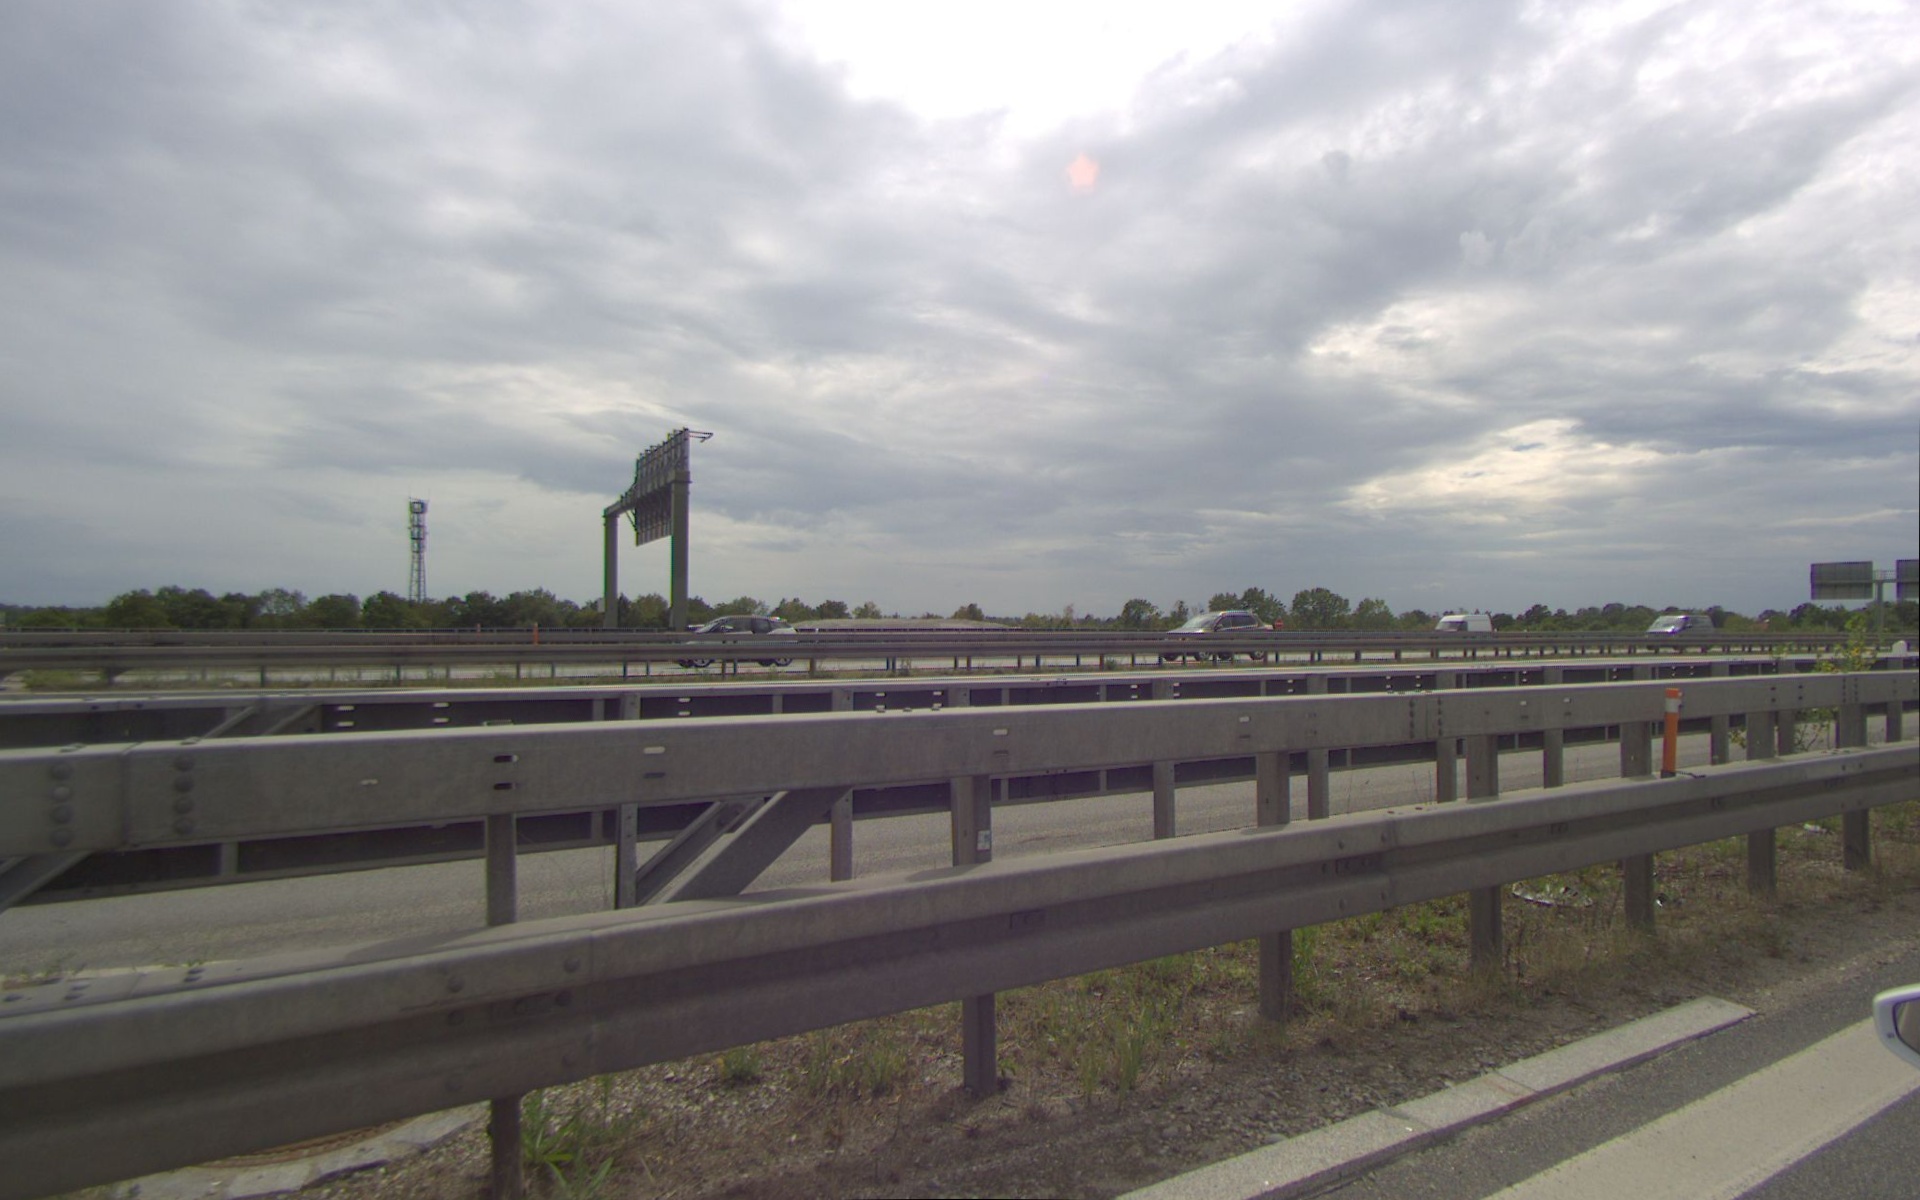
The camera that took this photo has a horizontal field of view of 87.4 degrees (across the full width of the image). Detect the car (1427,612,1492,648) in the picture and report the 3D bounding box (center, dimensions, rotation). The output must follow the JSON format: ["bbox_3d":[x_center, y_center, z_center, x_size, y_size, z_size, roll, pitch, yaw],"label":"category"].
[{"bbox_3d":[34.909,2.067,70.152,4.437,2.337,1.984,0,1,-30],"label":"car"}]

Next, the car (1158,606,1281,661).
[{"bbox_3d":[9.068,1.119,35.029,3.950,1.818,1.902,0,0,-29],"label":"car"}]

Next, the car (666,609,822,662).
[{"bbox_3d":[-6.460,1.009,30.125,4.279,1.441,1.697,0,1,-30],"label":"car"}]
